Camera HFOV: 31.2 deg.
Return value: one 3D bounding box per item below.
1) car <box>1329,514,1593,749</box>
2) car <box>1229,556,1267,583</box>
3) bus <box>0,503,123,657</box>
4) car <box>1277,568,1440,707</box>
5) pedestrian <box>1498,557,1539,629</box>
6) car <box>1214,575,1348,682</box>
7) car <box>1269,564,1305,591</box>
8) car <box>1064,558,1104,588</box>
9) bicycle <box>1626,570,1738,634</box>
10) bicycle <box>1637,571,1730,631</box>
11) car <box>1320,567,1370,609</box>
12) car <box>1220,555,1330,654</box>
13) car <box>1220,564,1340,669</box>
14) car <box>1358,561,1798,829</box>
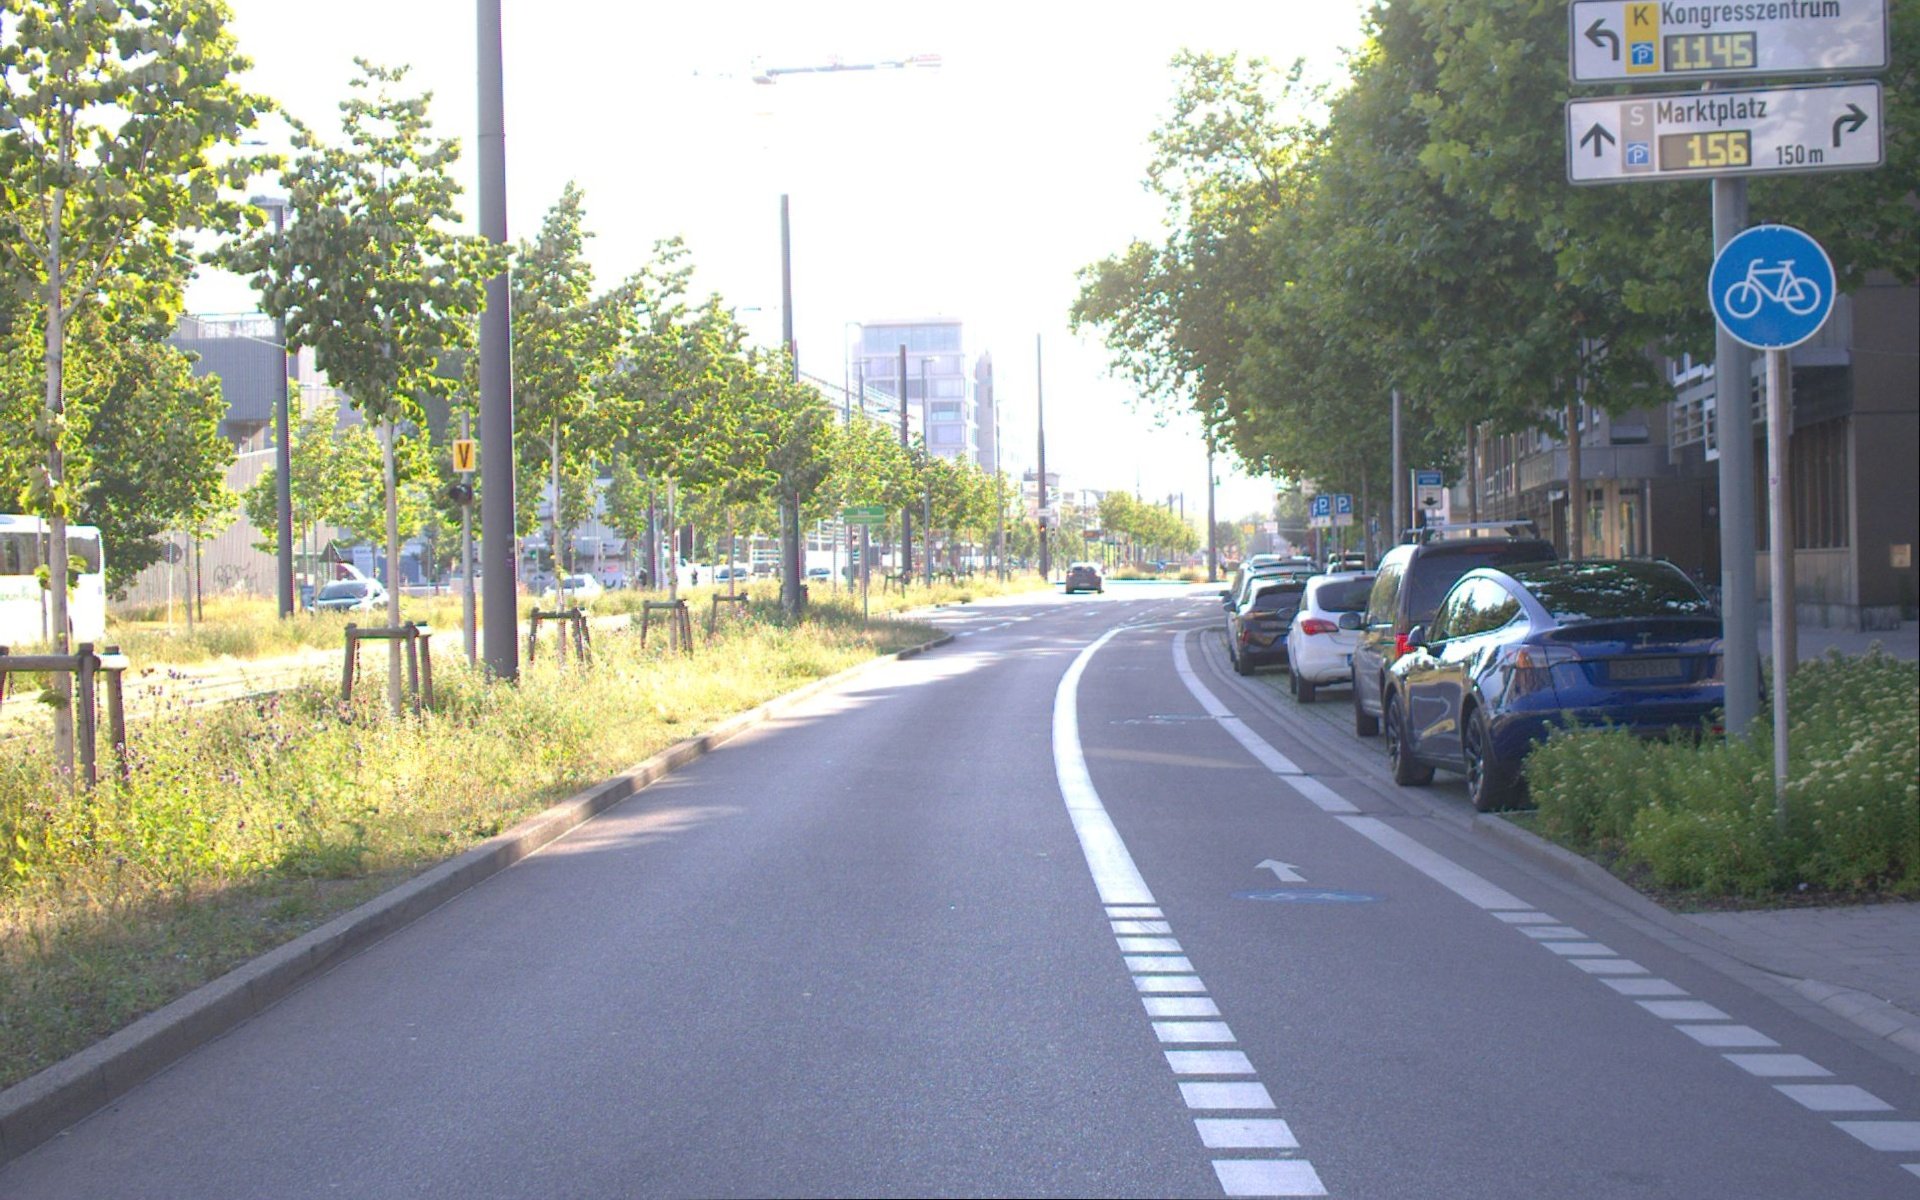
[{"bbox_3d":[4.492,0.246,31.396,1.734,1.913,4.393,-3,1,1],"label":"car"},{"bbox_3d":[15.681,-1.654,187.320,1.940,1.423,3.925,-1,1,4],"label":"car"},{"bbox_3d":[-23.639,-0.480,83.424,2.799,3.582,12.697,-1,0,4],"label":"bus"},{"bbox_3d":[4.717,0.406,41.122,1.664,1.485,4.203,-3,1,4],"label":"car"},{"bbox_3d":[12.928,-0.166,79.655,0.789,1.643,1.136,-2,0,4],"label":"pedestrian"},{"bbox_3d":[4.822,0.396,52.060,1.795,1.444,4.376,-3,1,3],"label":"car"},{"bbox_3d":[19.115,-1.324,201.050,1.940,1.480,3.925,-1,1,4],"label":"car"},{"bbox_3d":[5.984,-1.316,165.850,1.777,1.423,4.000,0,1,4],"label":"car"},{"bbox_3d":[13.024,0.038,61.990,1.899,1.089,0.392,-2,0,-2],"label":"bicycle"},{"bbox_3d":[13.563,0.020,64.467,1.627,1.078,0.392,-2,0,6],"label":"bicycle"},{"bbox_3d":[13.956,-0.448,124.623,1.707,1.413,4.275,-3,0,6],"label":"car"},{"bbox_3d":[5.803,0.051,63.739,1.728,1.682,4.514,-3,1,2],"label":"car"},{"bbox_3d":[5.340,0.243,57.818,1.728,1.616,4.216,-3,1,2],"label":"car"},{"bbox_3d":[4.174,0.581,24.041,1.931,1.593,4.700,-3,1,-3],"label":"car"}]
